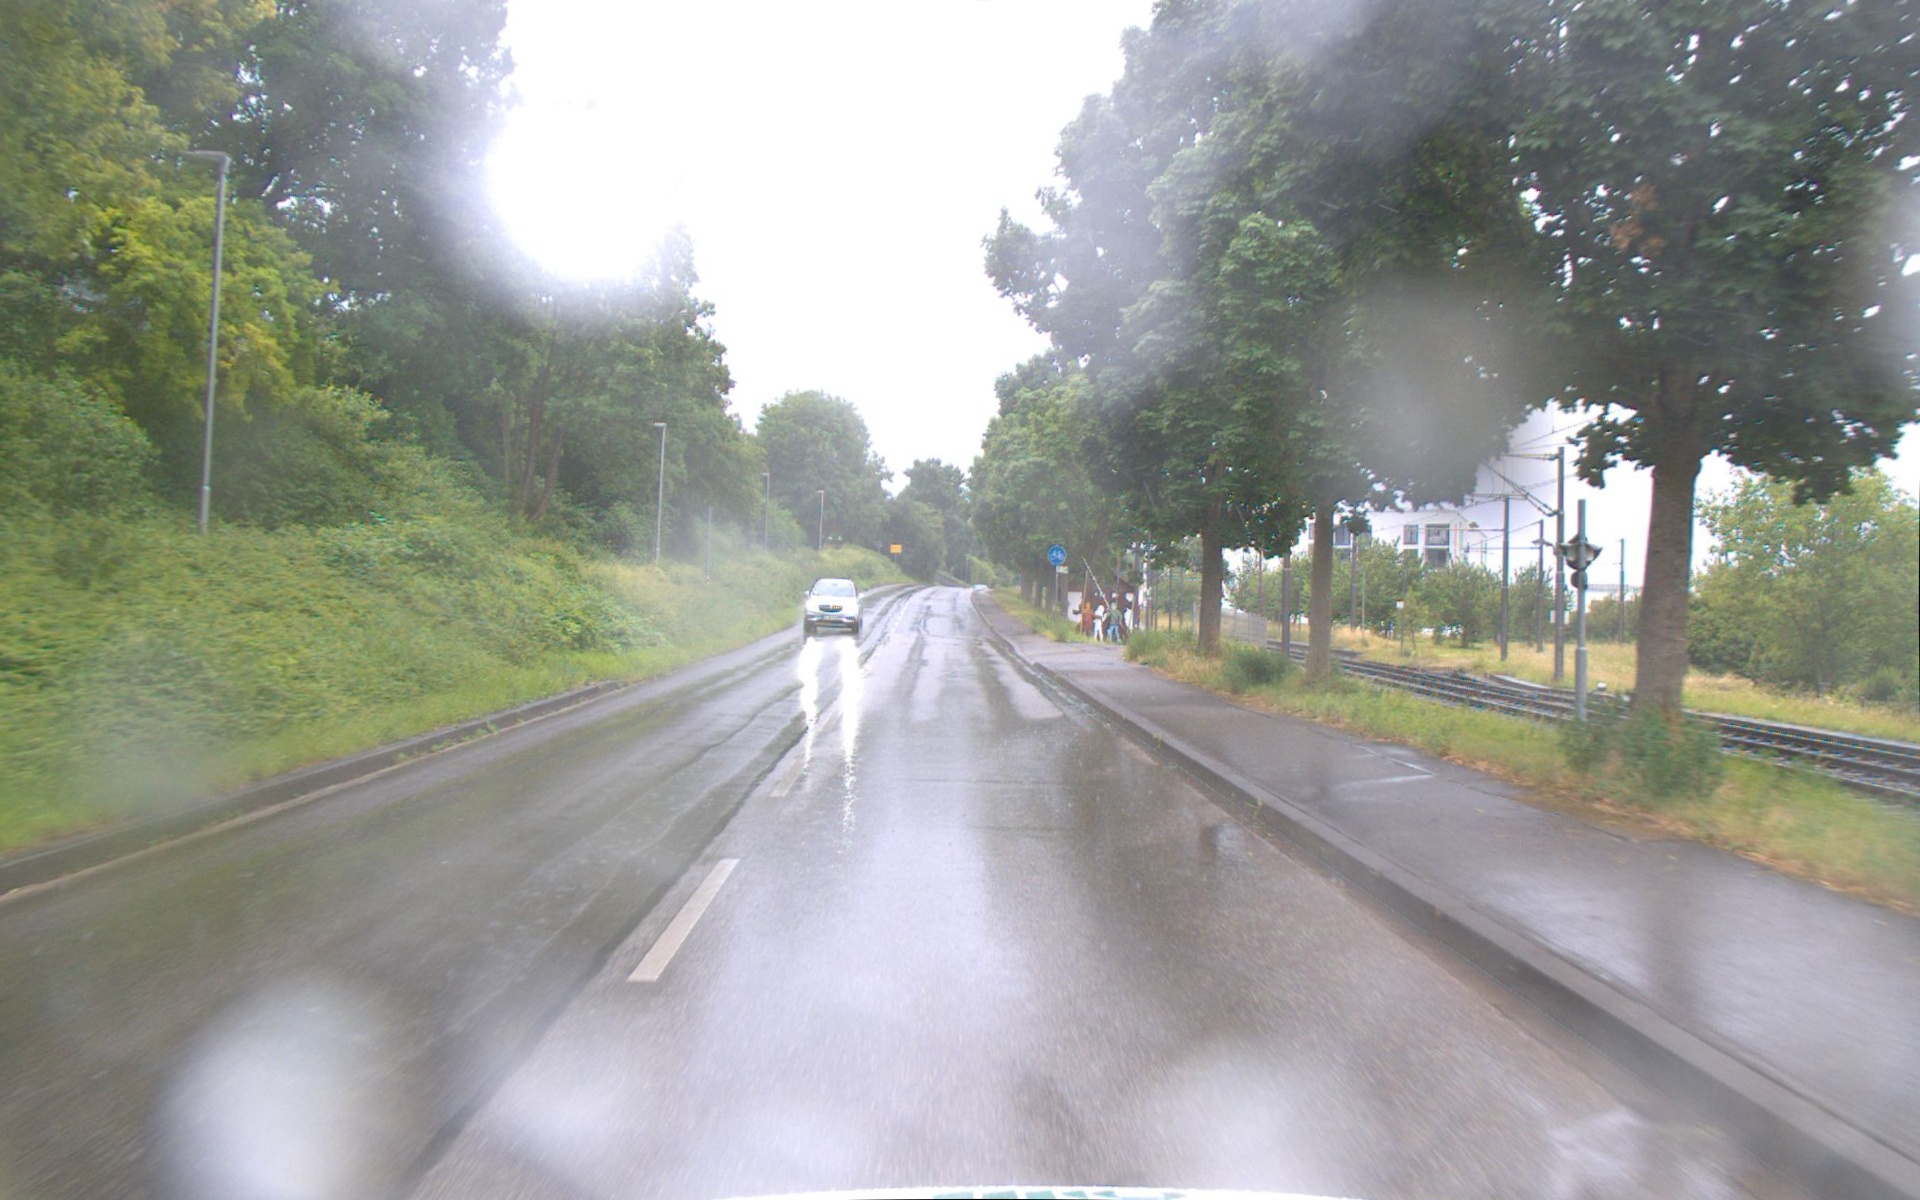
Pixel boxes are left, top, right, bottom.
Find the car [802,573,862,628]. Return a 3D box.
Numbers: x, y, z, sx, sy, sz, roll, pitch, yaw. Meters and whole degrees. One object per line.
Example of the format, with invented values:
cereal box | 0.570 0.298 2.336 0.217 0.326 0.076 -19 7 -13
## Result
car | -4.111 -0.017 53.675 1.709 1.640 4.087 2 1 -2
